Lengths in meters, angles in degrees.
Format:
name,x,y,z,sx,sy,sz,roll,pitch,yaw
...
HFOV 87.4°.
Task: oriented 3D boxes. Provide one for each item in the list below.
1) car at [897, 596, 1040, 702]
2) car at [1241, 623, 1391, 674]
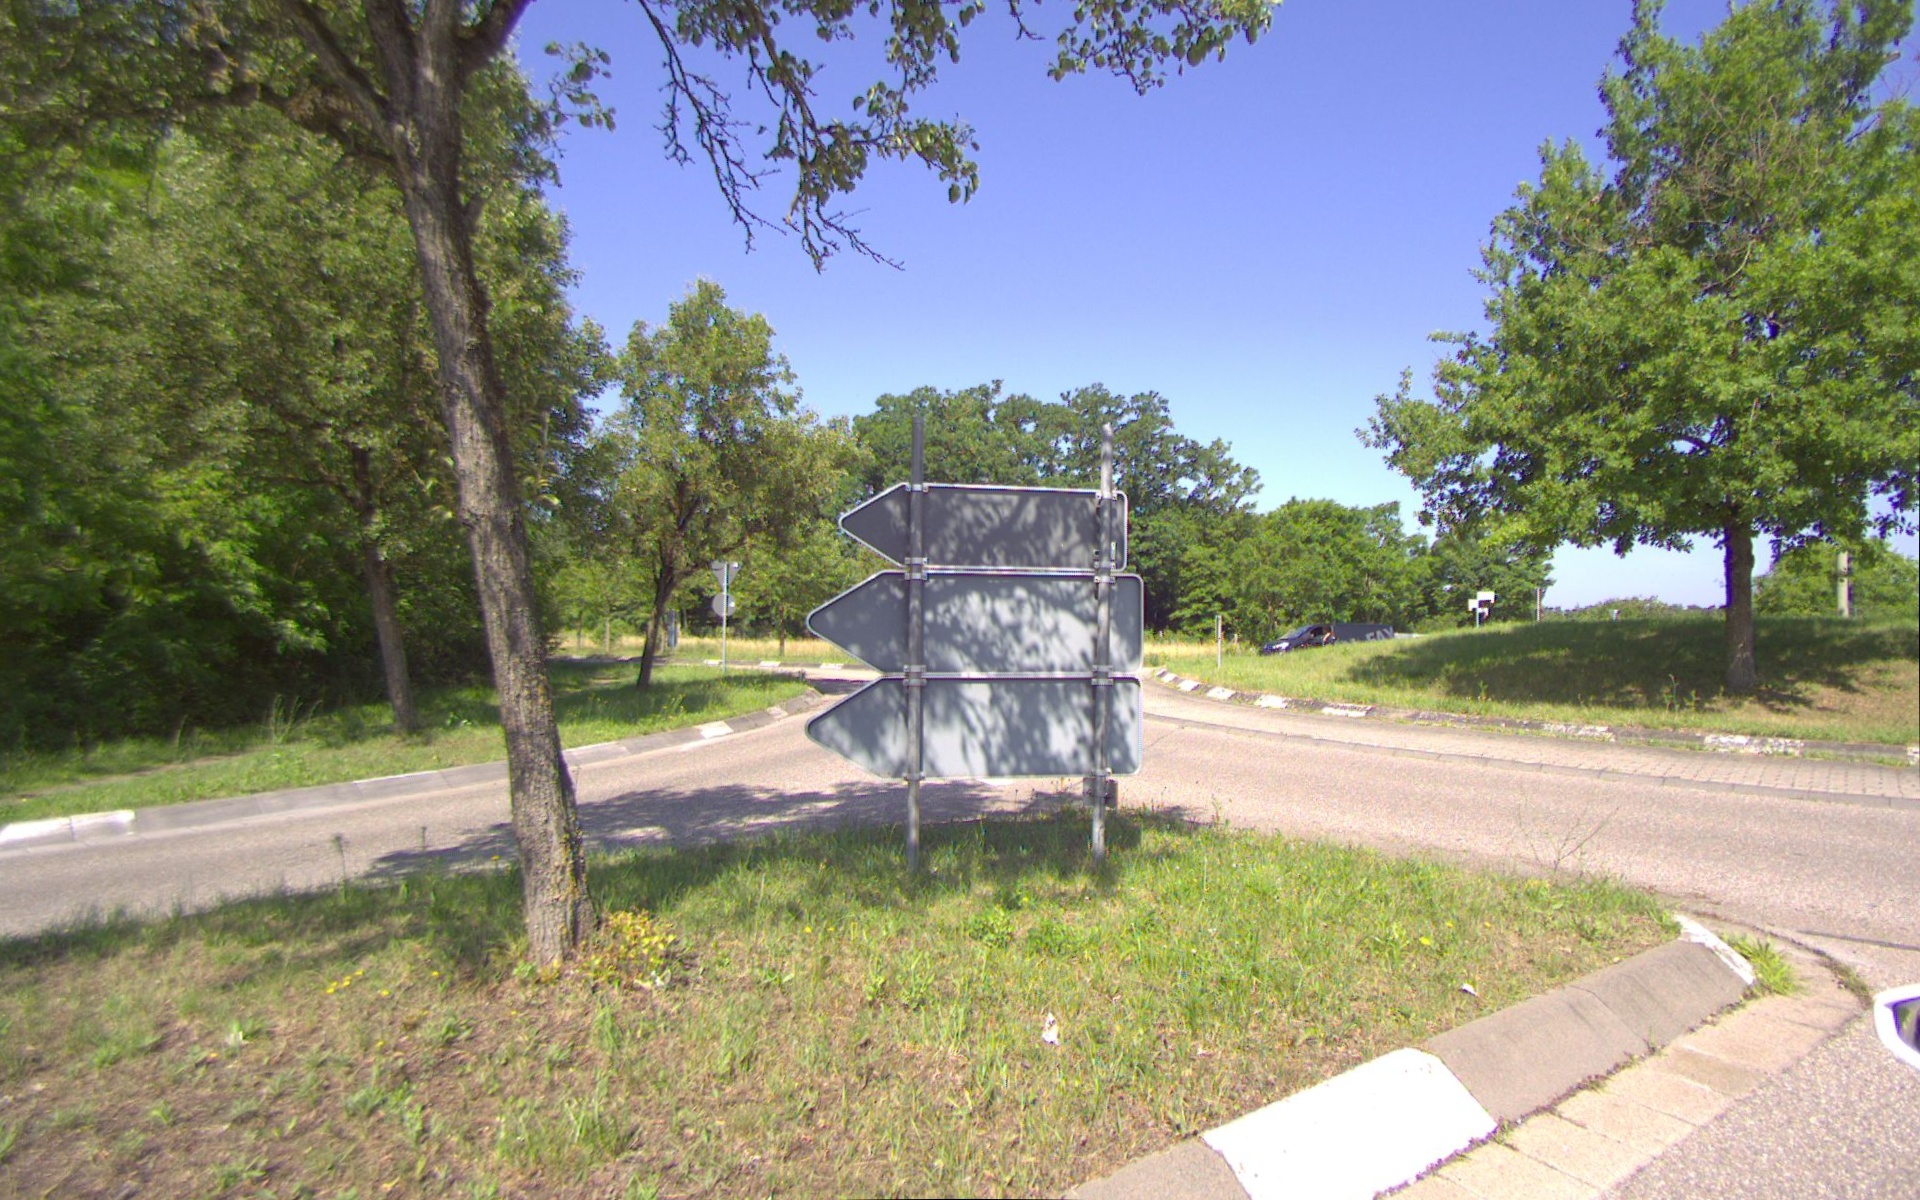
name,x,y,z,sx,sy,sz,roll,pitch,yaw
car,0.313,0.937,19.927,1.861,1.839,4.599,0,-2,13
car,12.653,1.697,35.910,4.627,1.737,2.101,0,-1,-3
